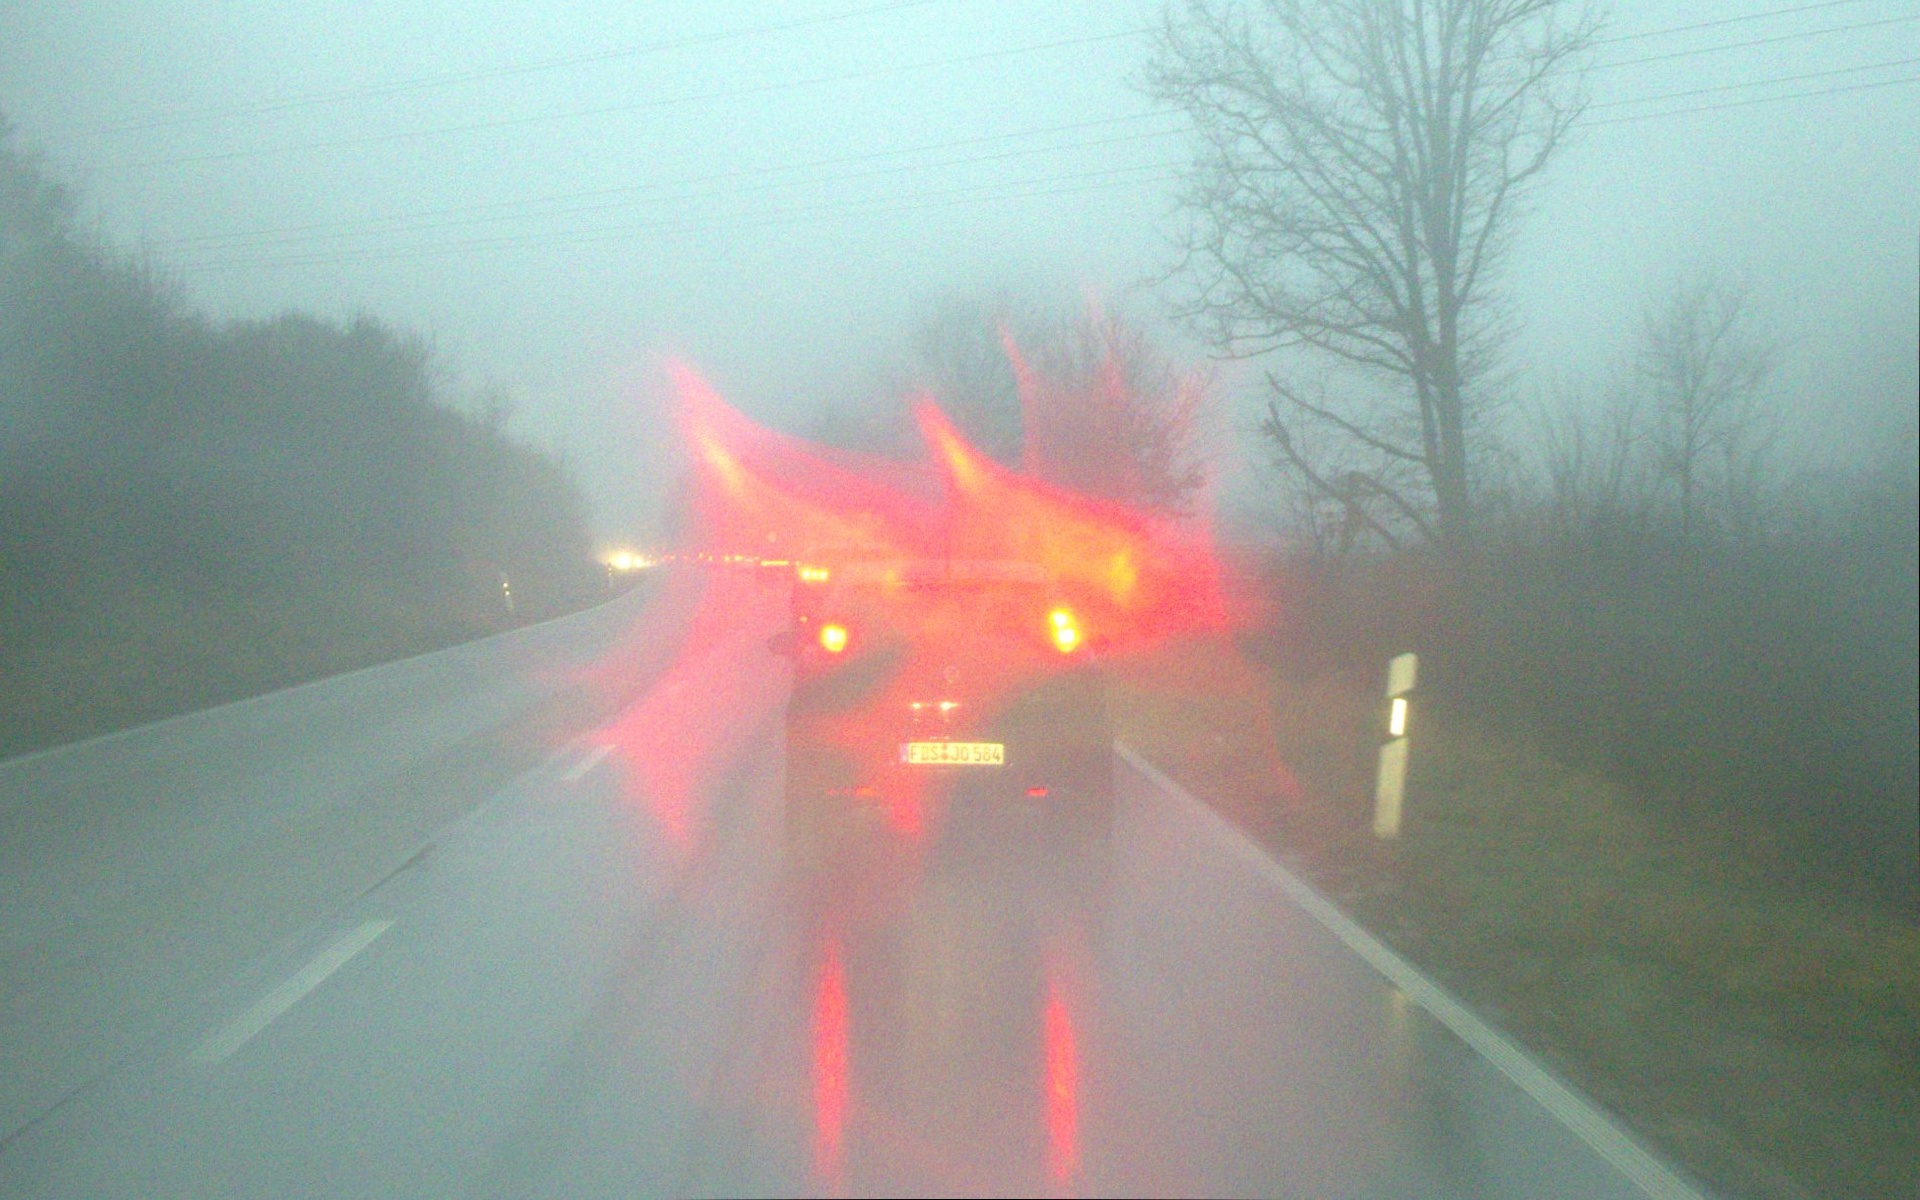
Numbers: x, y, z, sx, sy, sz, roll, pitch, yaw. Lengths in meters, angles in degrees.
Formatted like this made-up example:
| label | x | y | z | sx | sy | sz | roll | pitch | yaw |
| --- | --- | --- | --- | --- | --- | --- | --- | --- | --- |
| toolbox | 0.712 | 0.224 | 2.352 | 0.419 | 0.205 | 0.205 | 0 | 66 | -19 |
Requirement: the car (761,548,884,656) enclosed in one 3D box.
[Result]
| label | x | y | z | sx | sy | sz | roll | pitch | yaw |
| --- | --- | --- | --- | --- | --- | --- | --- | --- | --- |
| car | -1.841 | -0.008 | 46.947 | 1.547 | 1.392 | 3.870 | 1 | 1 | -1 |

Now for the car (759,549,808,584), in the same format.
| label | x | y | z | sx | sy | sz | roll | pitch | yaw |
| --- | --- | --- | --- | --- | --- | --- | --- | --- | --- |
| car | -7.179 | -1.392 | 140.190 | 1.547 | 1.392 | 3.869 | 1 | 1 | 4 |

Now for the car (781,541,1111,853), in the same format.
| label | x | y | z | sx | sy | sz | roll | pitch | yaw |
| --- | --- | --- | --- | --- | --- | --- | --- | --- | --- |
| car | -0.111 | 0.445 | 18.799 | 1.602 | 1.517 | 3.870 | 1 | 1 | -1 |
